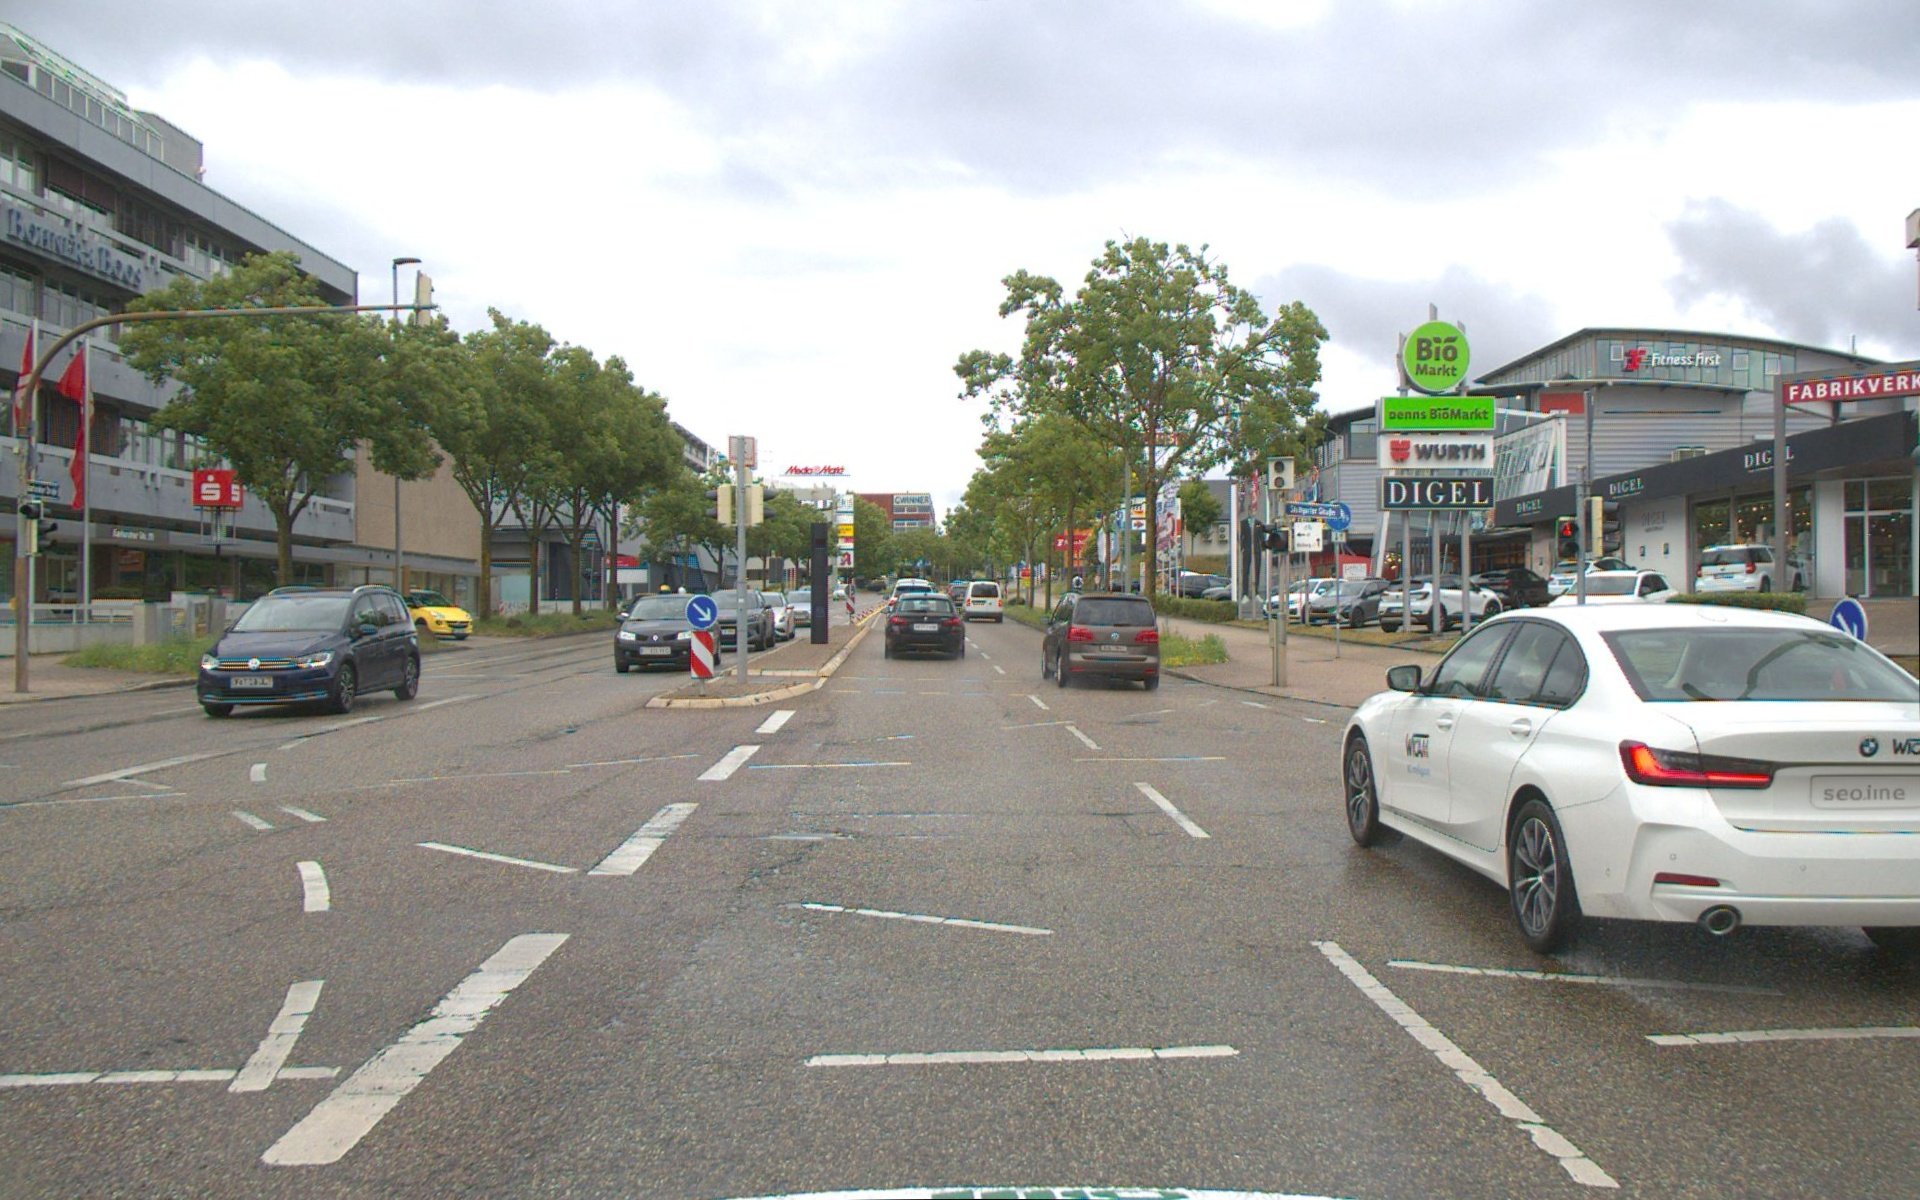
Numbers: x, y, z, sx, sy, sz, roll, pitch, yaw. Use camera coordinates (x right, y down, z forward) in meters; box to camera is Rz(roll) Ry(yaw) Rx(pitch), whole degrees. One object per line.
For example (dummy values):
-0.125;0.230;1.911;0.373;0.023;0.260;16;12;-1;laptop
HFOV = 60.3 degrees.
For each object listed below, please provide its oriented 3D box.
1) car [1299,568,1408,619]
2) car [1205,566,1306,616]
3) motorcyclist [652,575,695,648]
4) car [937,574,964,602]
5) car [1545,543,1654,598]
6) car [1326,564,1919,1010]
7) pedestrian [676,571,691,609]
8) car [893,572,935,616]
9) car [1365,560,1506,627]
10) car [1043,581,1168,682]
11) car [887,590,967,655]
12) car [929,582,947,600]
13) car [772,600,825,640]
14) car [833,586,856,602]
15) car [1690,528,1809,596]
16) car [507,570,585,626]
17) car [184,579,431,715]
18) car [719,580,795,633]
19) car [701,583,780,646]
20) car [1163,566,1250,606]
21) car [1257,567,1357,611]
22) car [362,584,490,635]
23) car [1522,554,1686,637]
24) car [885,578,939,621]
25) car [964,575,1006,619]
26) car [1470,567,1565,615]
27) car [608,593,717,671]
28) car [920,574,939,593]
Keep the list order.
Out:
12.531;-0.228;52.559;3.566;1.563;1.620;-1;0;-41;car
12.683;-0.384;71.072;4.026;2.142;1.800;0;0;0;car
-6.383;0.247;36.849;0.790;1.586;1.267;0;0;-3;motorcyclist
-0.611;-0.750;104.726;1.650;1.713;3.402;1;-1;0;car
21.617;-0.978;55.860;4.116;1.802;1.712;-1;0;-41;car
3.297;0.684;8.246;1.765;1.571;4.618;2;0;-2;car
-16.539;-0.597;98.930;0.842;2.257;0.845;0;0;-4;pedestrian
-2.216;-0.251;81.306;1.953;2.049;3.999;1;-1;-1;car
13.482;-0.212;46.829;3.991;1.691;1.953;-3;2;-41;car
2.497;0.499;29.270;1.764;1.614;4.450;2;0;0;car
-0.767;0.492;38.323;1.745;1.422;3.999;1;0;-1;car
-2.025;-0.784;150.715;1.587;1.521;3.359;1;-1;-2;car
-6.437;0.776;66.141;1.688;1.422;4.788;-3;0;-1;car
-10.611;-0.554;151.796;1.904;1.474;3.999;0;0;-2;car
22.082;-1.042;46.196;4.122;1.802;1.710;-1;0;-44;car
-15.891;-0.056;63.626;1.953;2.049;3.999;1;-1;0;car
-8.687;0.566;22.444;1.873;1.636;4.359;-1;0;-4;car
-6.075;0.168;50.026;1.804;1.401;4.861;-3;0;-2;car
-5.568;0.332;42.445;1.710;1.515;4.825;-1;0;-4;car
12.202;-0.695;82.054;4.026;1.938;1.800;-1;0;0;car
12.624;-0.409;60.112;3.566;1.563;1.770;-1;0;-41;car
-17.165;0.300;53.112;3.917;1.579;1.894;-1;1;34;car
13.414;-0.108;34.330;1.897;1.604;4.265;0;0;40;car
-1.648;-0.018;56.170;1.649;1.401;3.997;-1;0;-4;car
1.092;-0.128;74.967;1.746;1.899;3.999;-1;0;-1;car
21.093;-0.341;62.525;3.939;1.750;1.610;-1;0;-41;car
-5.735;0.574;32.252;1.649;1.401;3.997;-1;0;-4;car
-2.493;-1.329;134.660;1.485;1.500;3.443;1;-1;-2;car
